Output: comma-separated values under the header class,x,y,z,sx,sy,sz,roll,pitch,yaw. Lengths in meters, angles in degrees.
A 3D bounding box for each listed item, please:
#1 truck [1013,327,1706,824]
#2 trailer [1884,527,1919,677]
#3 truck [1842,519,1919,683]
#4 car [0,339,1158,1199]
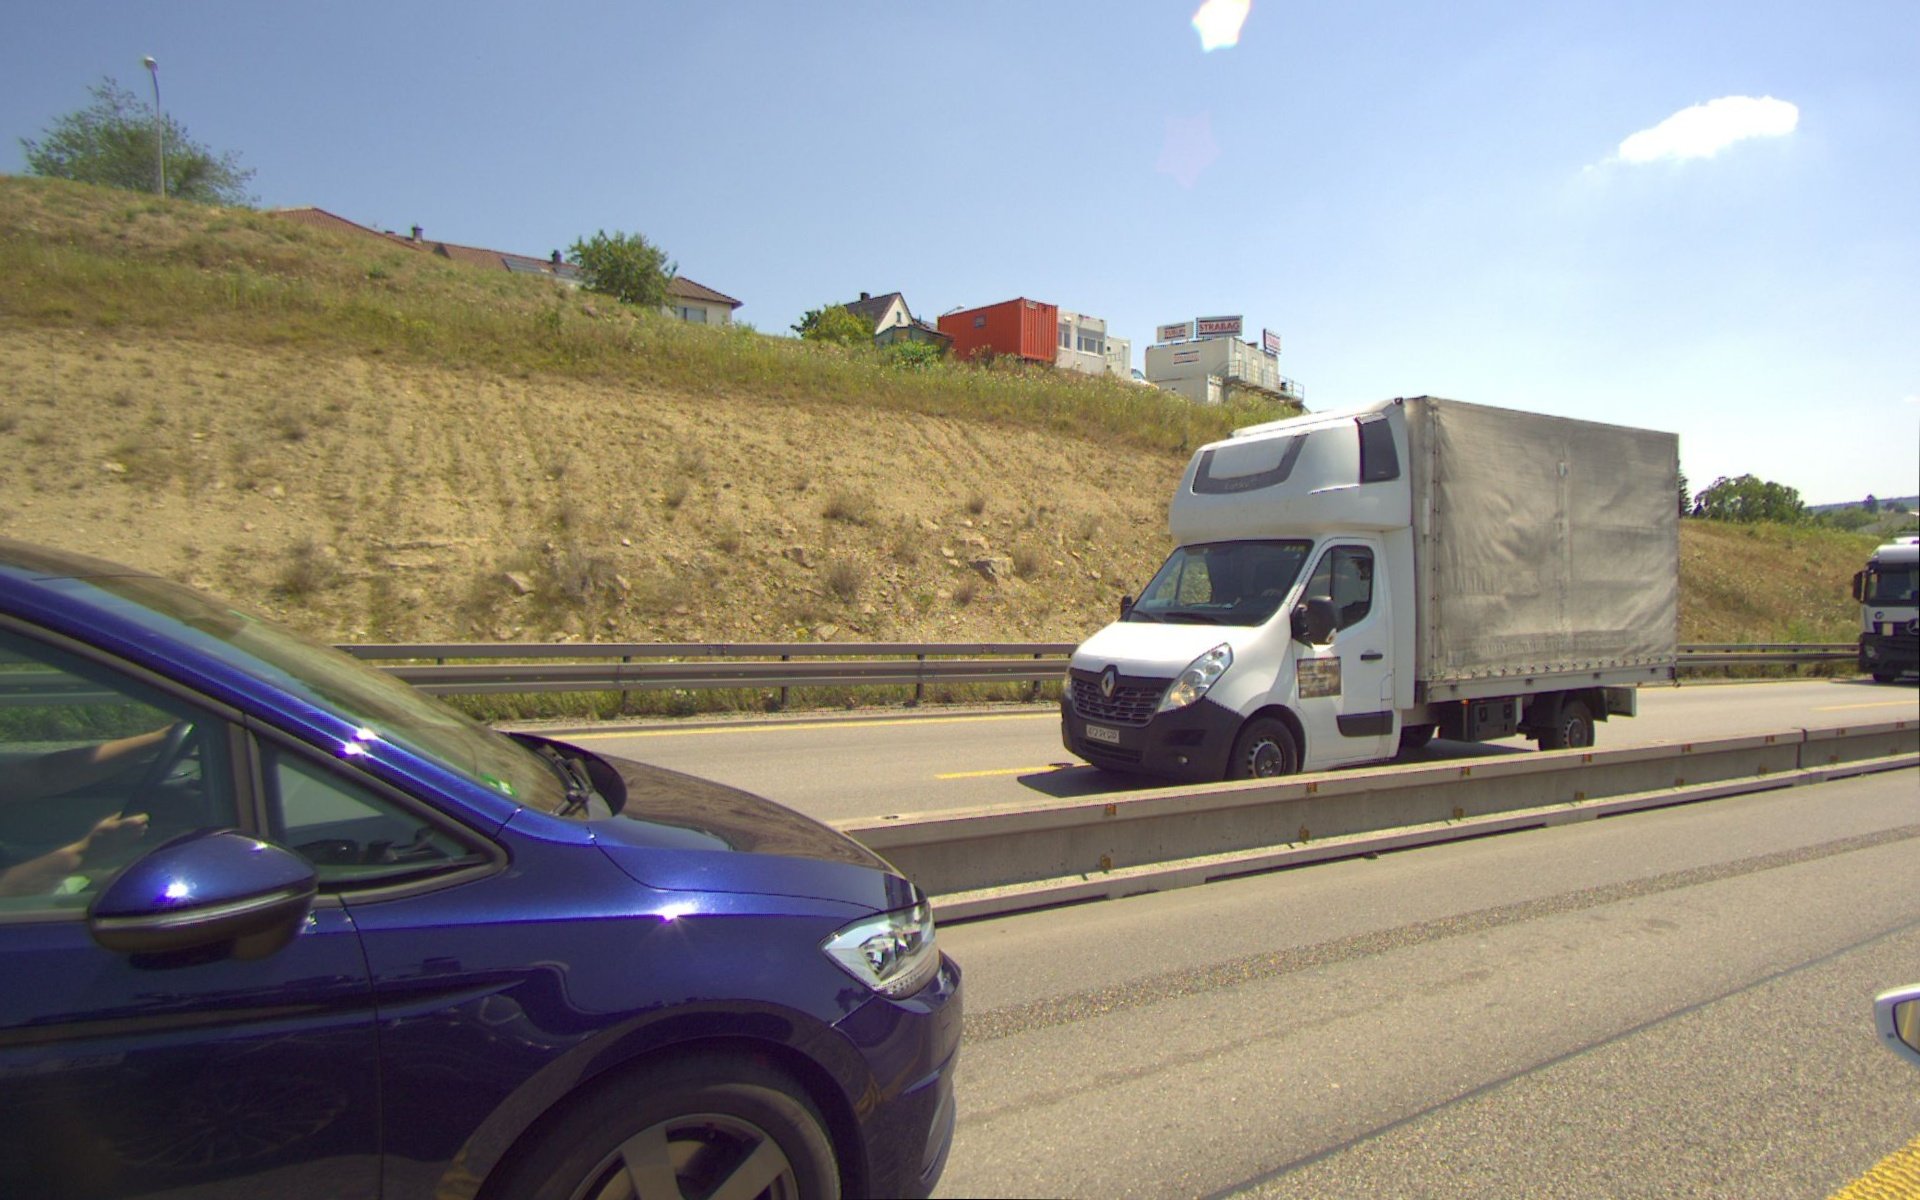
class,x,y,z,sx,sy,sz,roll,pitch,yaw
truck,4.127,-0.124,9.791,6.956,3.419,2.525,1,1,-31
trailer,32.215,0.184,30.234,13.543,4.078,2.684,1,1,-31
truck,25.608,0.056,26.258,3.909,4.104,2.684,1,1,-31
car,-1.977,0.527,1.867,4.597,1.741,1.767,0,1,-30
